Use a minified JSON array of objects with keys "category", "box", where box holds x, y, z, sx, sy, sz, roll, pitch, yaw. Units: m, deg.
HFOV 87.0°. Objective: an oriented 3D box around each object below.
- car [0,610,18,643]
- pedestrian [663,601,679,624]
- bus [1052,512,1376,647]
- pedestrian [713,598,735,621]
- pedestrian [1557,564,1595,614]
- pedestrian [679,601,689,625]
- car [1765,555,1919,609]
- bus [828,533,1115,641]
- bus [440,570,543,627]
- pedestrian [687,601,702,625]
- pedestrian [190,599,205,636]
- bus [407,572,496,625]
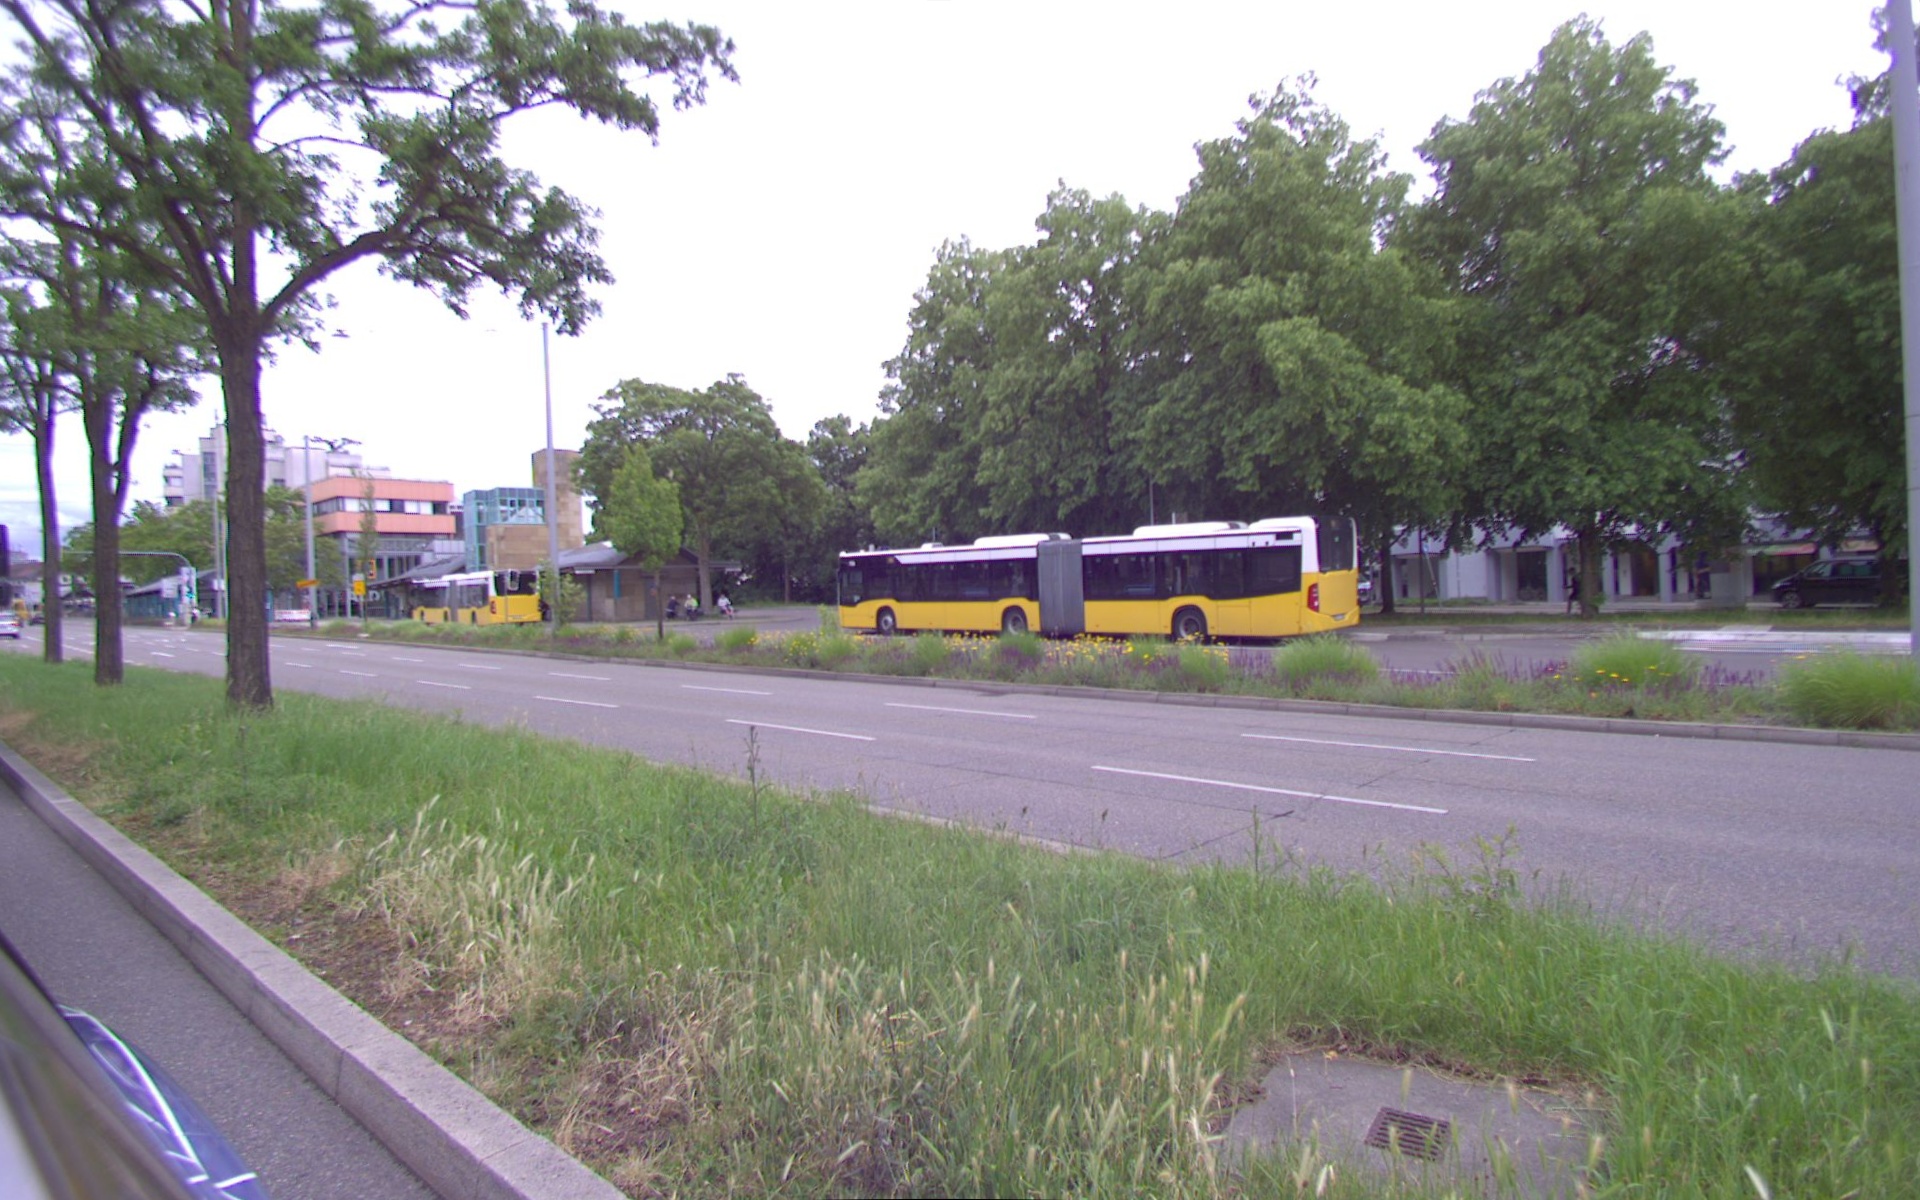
[{"category":"car","box":[-59.993,1.672,63.010,4.000,2.029,1.703,-1,0,43]},{"category":"pedestrian","box":[-14.843,0.651,51.995,0.590,1.171,0.744,-1,0,-34]},{"category":"bus","box":[6.351,-0.421,26.471,2.849,3.025,7.889,-1,0,-44]},{"category":"pedestrian","box":[-11.924,0.476,51.104,0.924,1.180,0.641,-1,0,41]},{"category":"pedestrian","box":[19.705,-0.337,32.373,0.904,1.569,0.761,-2,0,41]},{"category":"pedestrian","box":[-13.743,0.637,50.390,0.361,1.175,0.900,-1,0,-23]},{"category":"car","box":[33.124,-0.631,37.787,1.758,1.861,4.429,-1,0,-35]},{"category":"bus","box":[-0.014,-0.304,33.070,2.849,3.025,10.401,-1,0,-44]},{"category":"bus","box":[-25.684,-0.041,55.169,2.846,2.830,9.192,-1,0,-39]},{"category":"pedestrian","box":[-13.252,0.630,50.533,0.589,1.171,0.745,-1,0,-23]},{"category":"pedestrian","box":[-58.246,1.323,77.288,0.889,2.809,1.150,-1,0,-36]},{"category":"bus","box":[-31.321,-0.016,62.070,2.846,3.025,9.191,-1,0,-40]}]
